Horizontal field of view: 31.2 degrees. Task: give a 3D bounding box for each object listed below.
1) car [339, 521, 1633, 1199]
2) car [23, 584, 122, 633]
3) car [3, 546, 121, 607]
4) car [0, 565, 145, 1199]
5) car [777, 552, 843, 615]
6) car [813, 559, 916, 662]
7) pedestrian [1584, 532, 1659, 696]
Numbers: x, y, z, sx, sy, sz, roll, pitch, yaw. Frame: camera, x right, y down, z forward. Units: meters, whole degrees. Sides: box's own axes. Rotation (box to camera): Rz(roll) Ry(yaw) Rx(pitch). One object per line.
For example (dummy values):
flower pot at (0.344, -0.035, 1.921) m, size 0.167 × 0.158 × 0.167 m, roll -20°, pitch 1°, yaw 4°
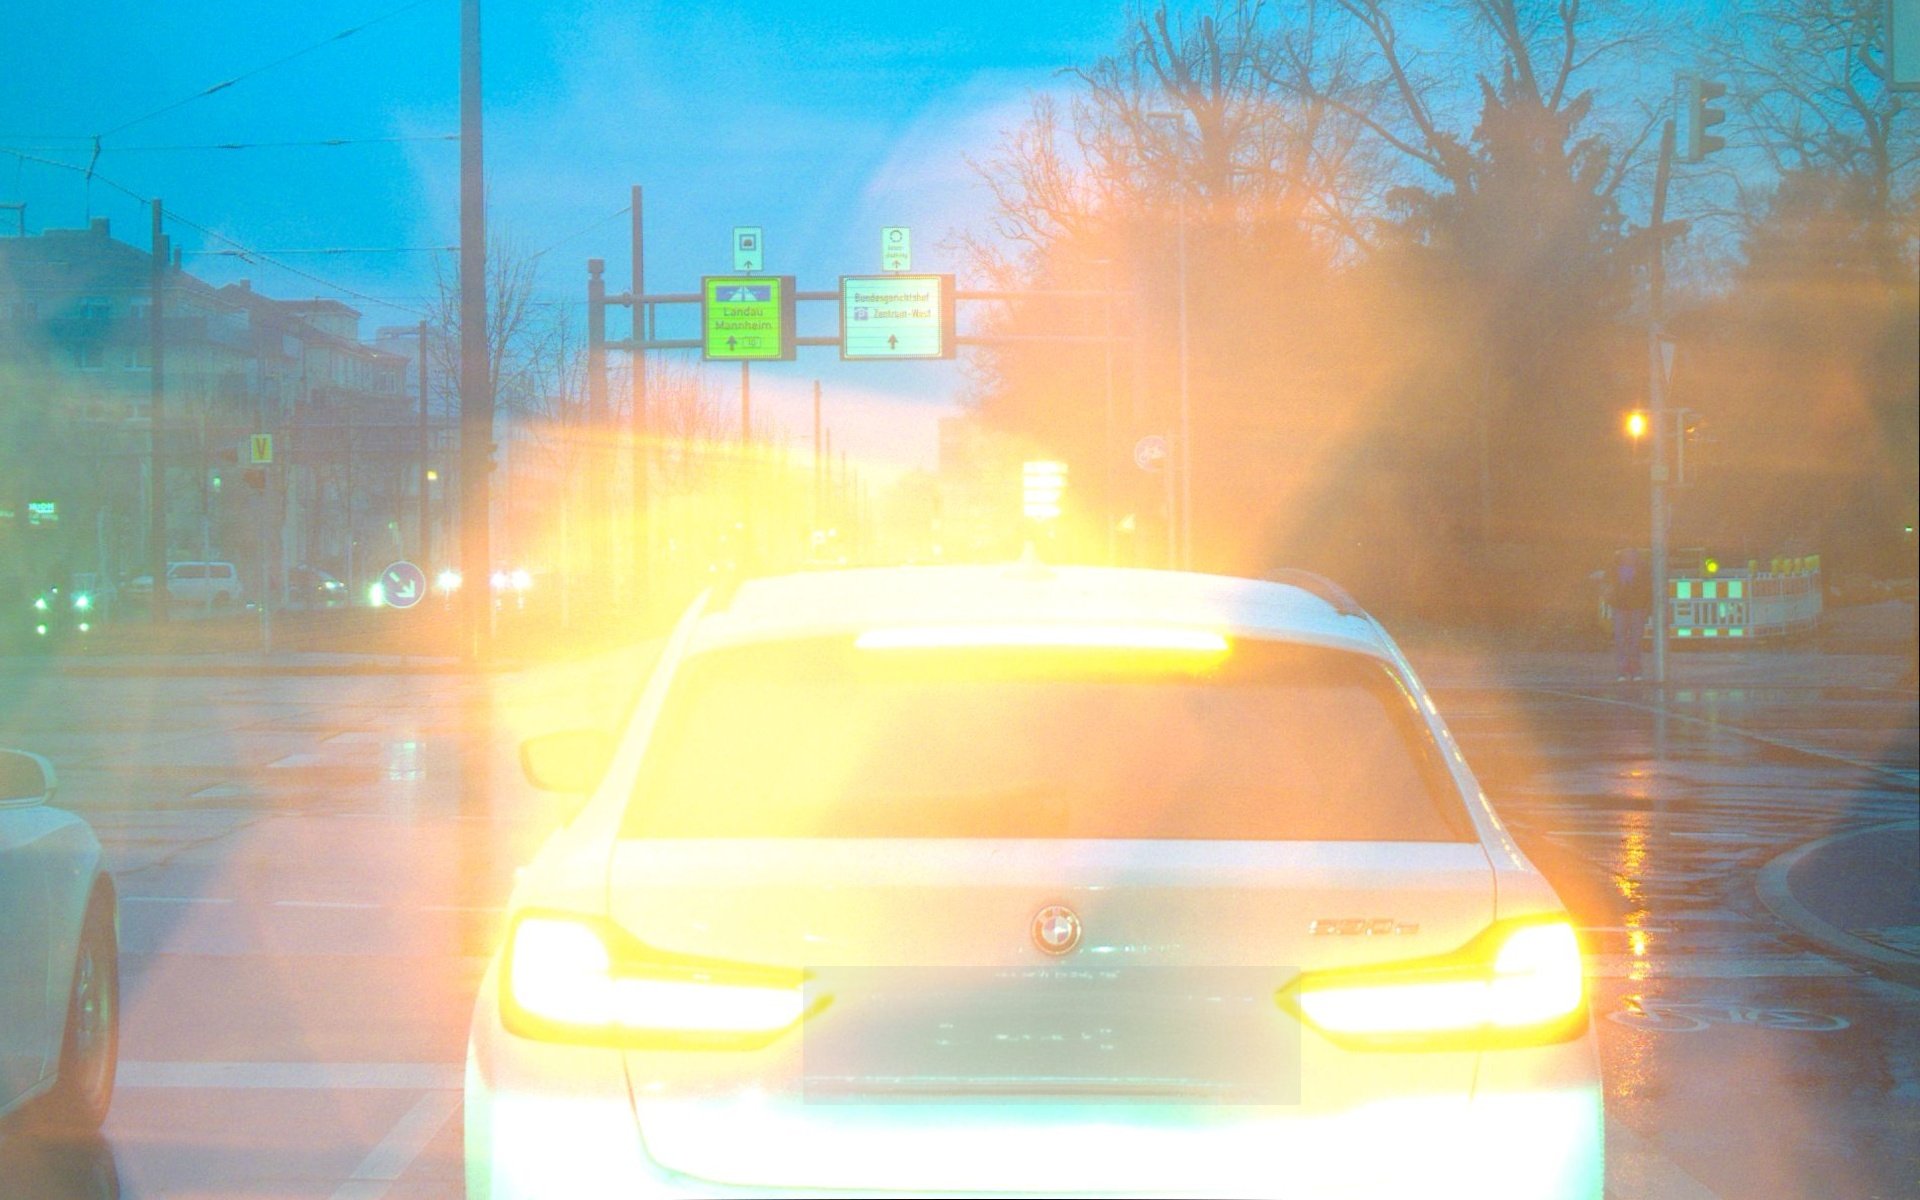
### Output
car at (-0.062, 0.656, 6.825) m, size 1.759 × 1.547 × 4.252 m, roll 1°, pitch 1°, yaw -3°
car at (-27.893, 0.242, 108.215) m, size 1.993 × 1.457 × 5.095 m, roll 1°, pitch 1°, yaw -2°
car at (-22.557, -0.603, 86.500) m, size 1.993 × 1.457 × 5.096 m, roll 1°, pitch 1°, yaw -4°
car at (-2.958, 0.655, 6.996) m, size 1.759 × 1.464 × 4.252 m, roll 1°, pitch 1°, yaw -3°
car at (-4.913, -0.565, 113.012) m, size 1.993 × 2.007 × 4.000 m, roll 1°, pitch 1°, yaw -1°
car at (-1.909, 0.191, 69.619) m, size 1.993 × 2.007 × 4.000 m, roll 1°, pitch 1°, yaw -1°
pedestrian at (7.669, 0.160, 39.883) m, size 0.673 × 1.873 × 0.715 m, roll 1°, pitch 0°, yaw -3°
